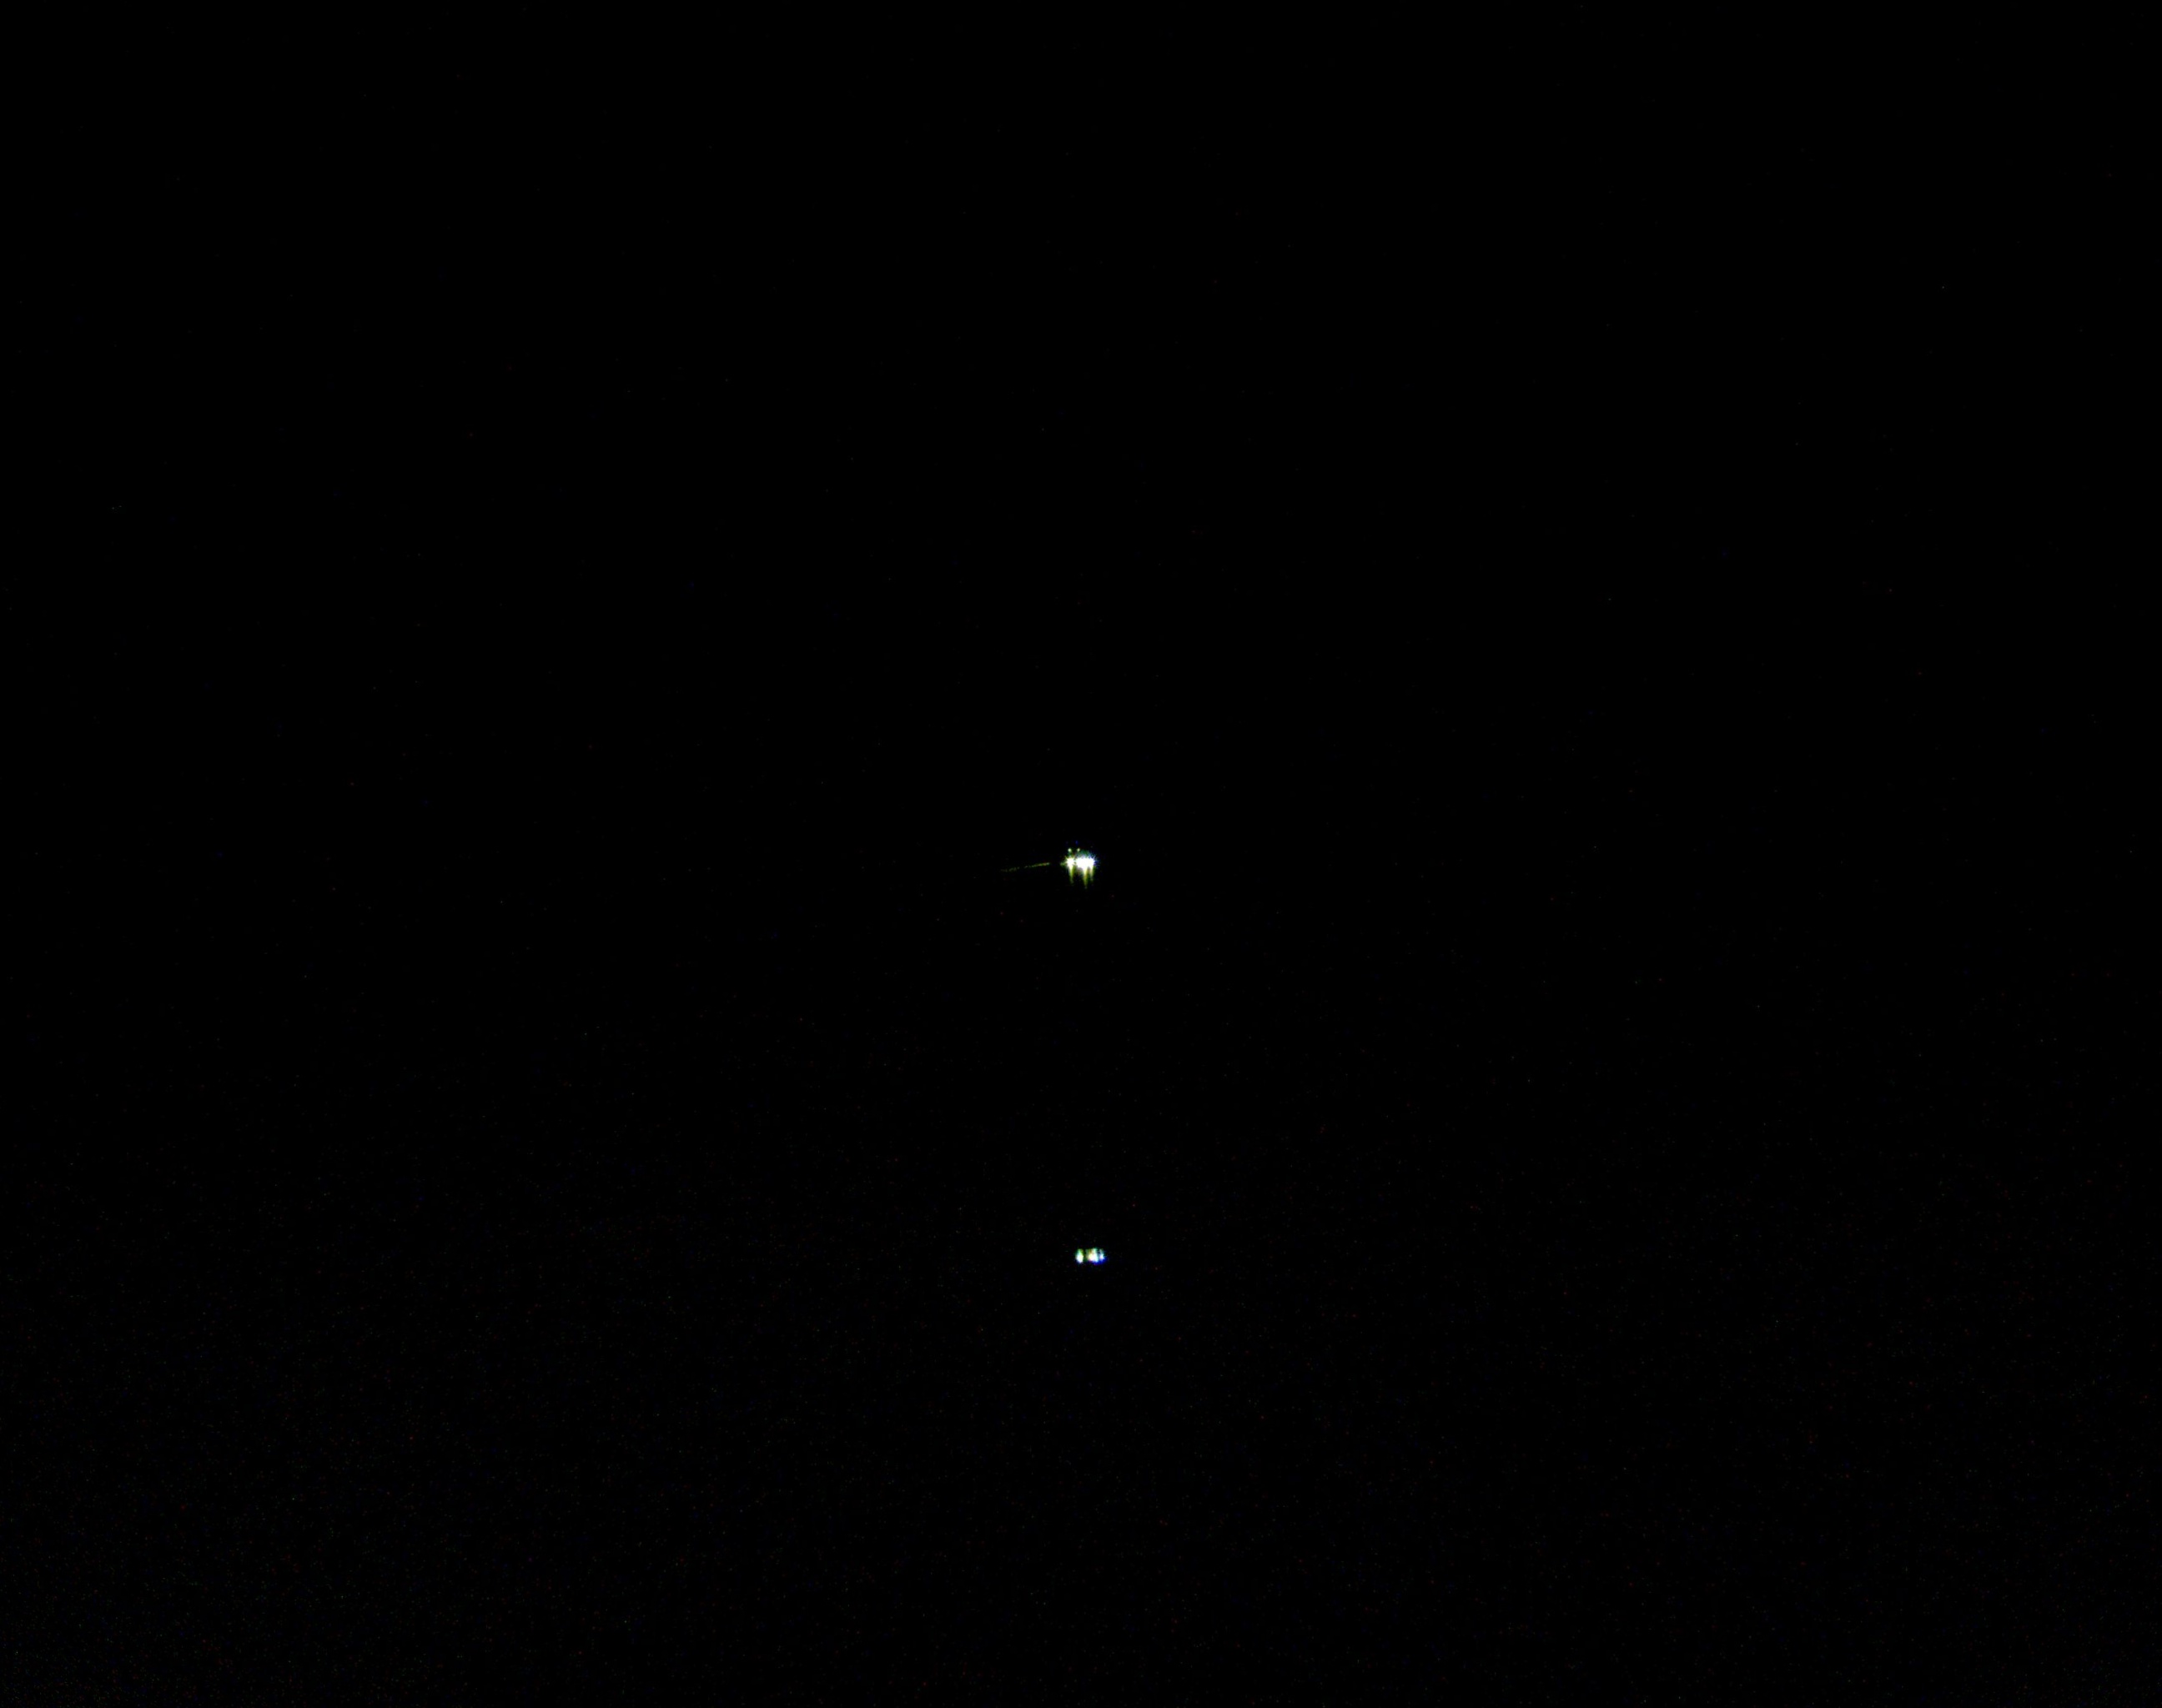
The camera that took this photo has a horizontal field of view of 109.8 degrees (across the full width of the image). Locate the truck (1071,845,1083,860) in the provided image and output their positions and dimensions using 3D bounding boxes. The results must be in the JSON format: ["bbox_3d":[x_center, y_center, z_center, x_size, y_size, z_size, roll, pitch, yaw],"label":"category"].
[{"bbox_3d":[-0.996,-0.342,202.539,3.003,3.876,12.889,-3,0,0],"label":"truck"}]

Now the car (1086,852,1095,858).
[{"bbox_3d":[2.190,0.270,179.731,1.845,1.474,4.293,-3,0,2],"label":"car"}]
